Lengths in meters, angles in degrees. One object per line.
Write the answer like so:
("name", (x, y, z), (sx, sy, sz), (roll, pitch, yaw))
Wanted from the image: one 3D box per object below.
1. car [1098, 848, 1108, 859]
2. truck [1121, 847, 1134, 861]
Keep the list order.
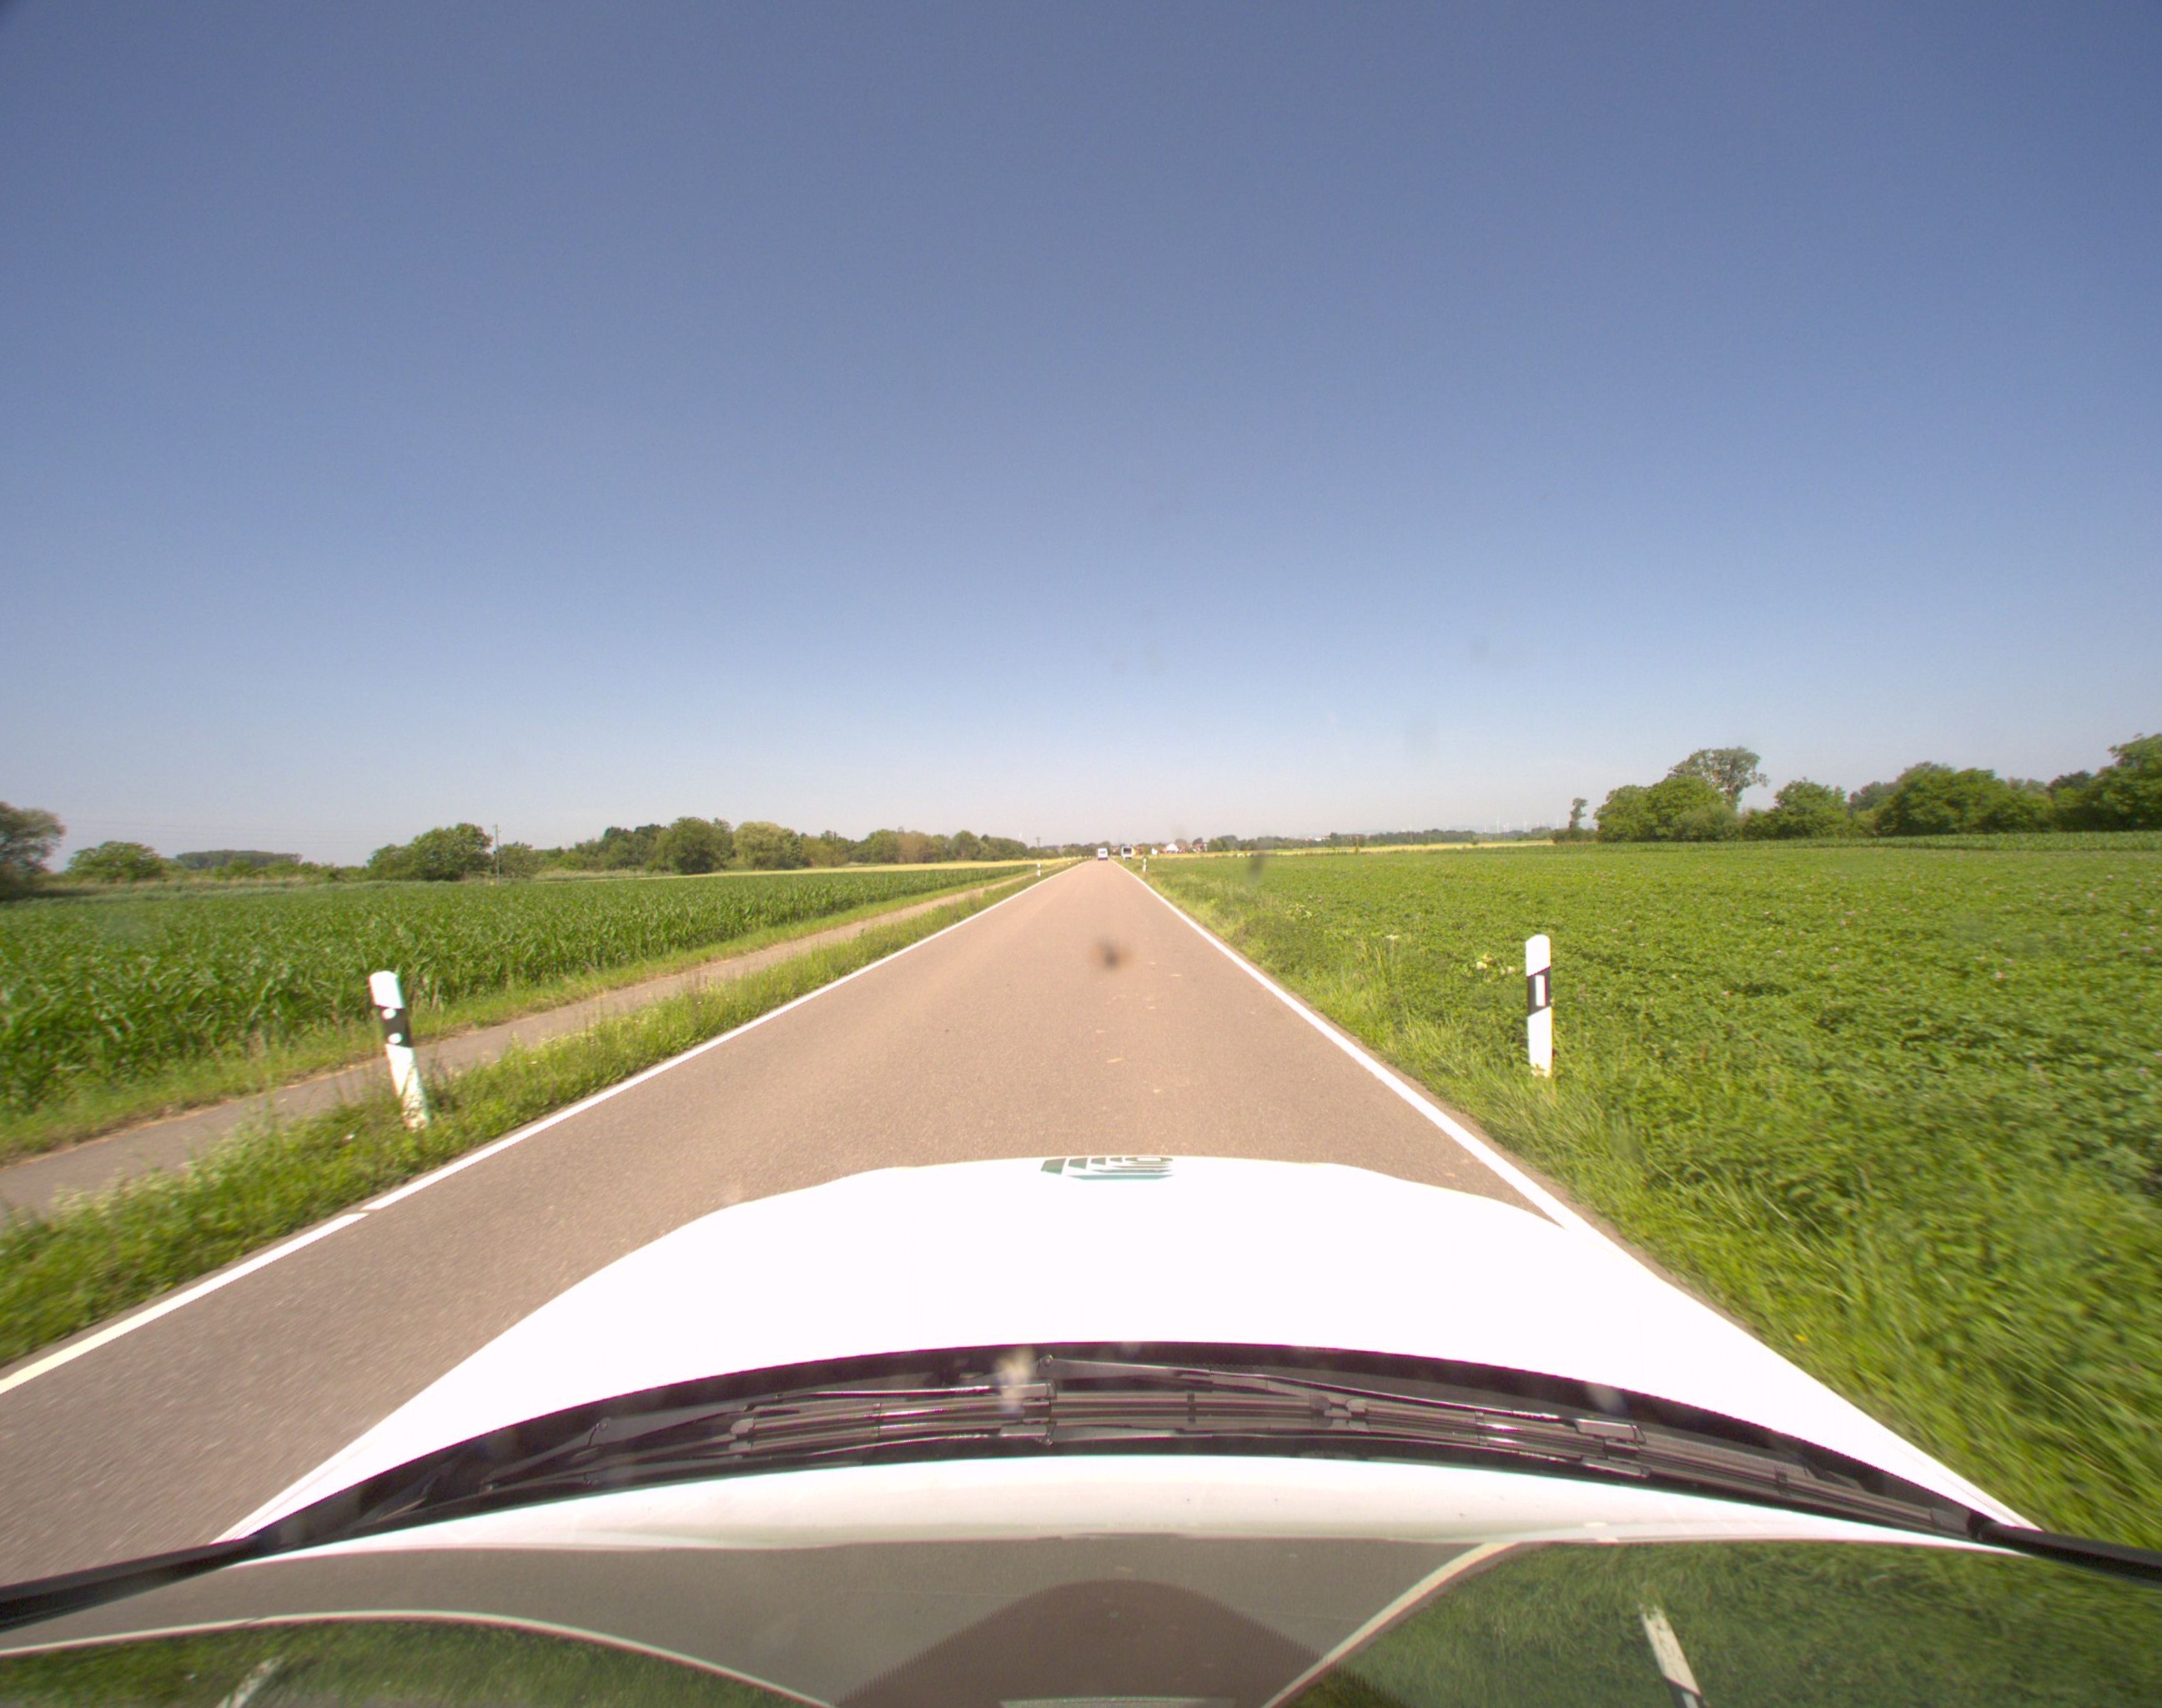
("car", (4.632, -0.098, 171.887), (2.099, 2.304, 5.497), (0, 0, 1))
("truck", (10.006, -0.066, 175.850), (2.328, 2.942, 7.006), (1, 0, 0))
